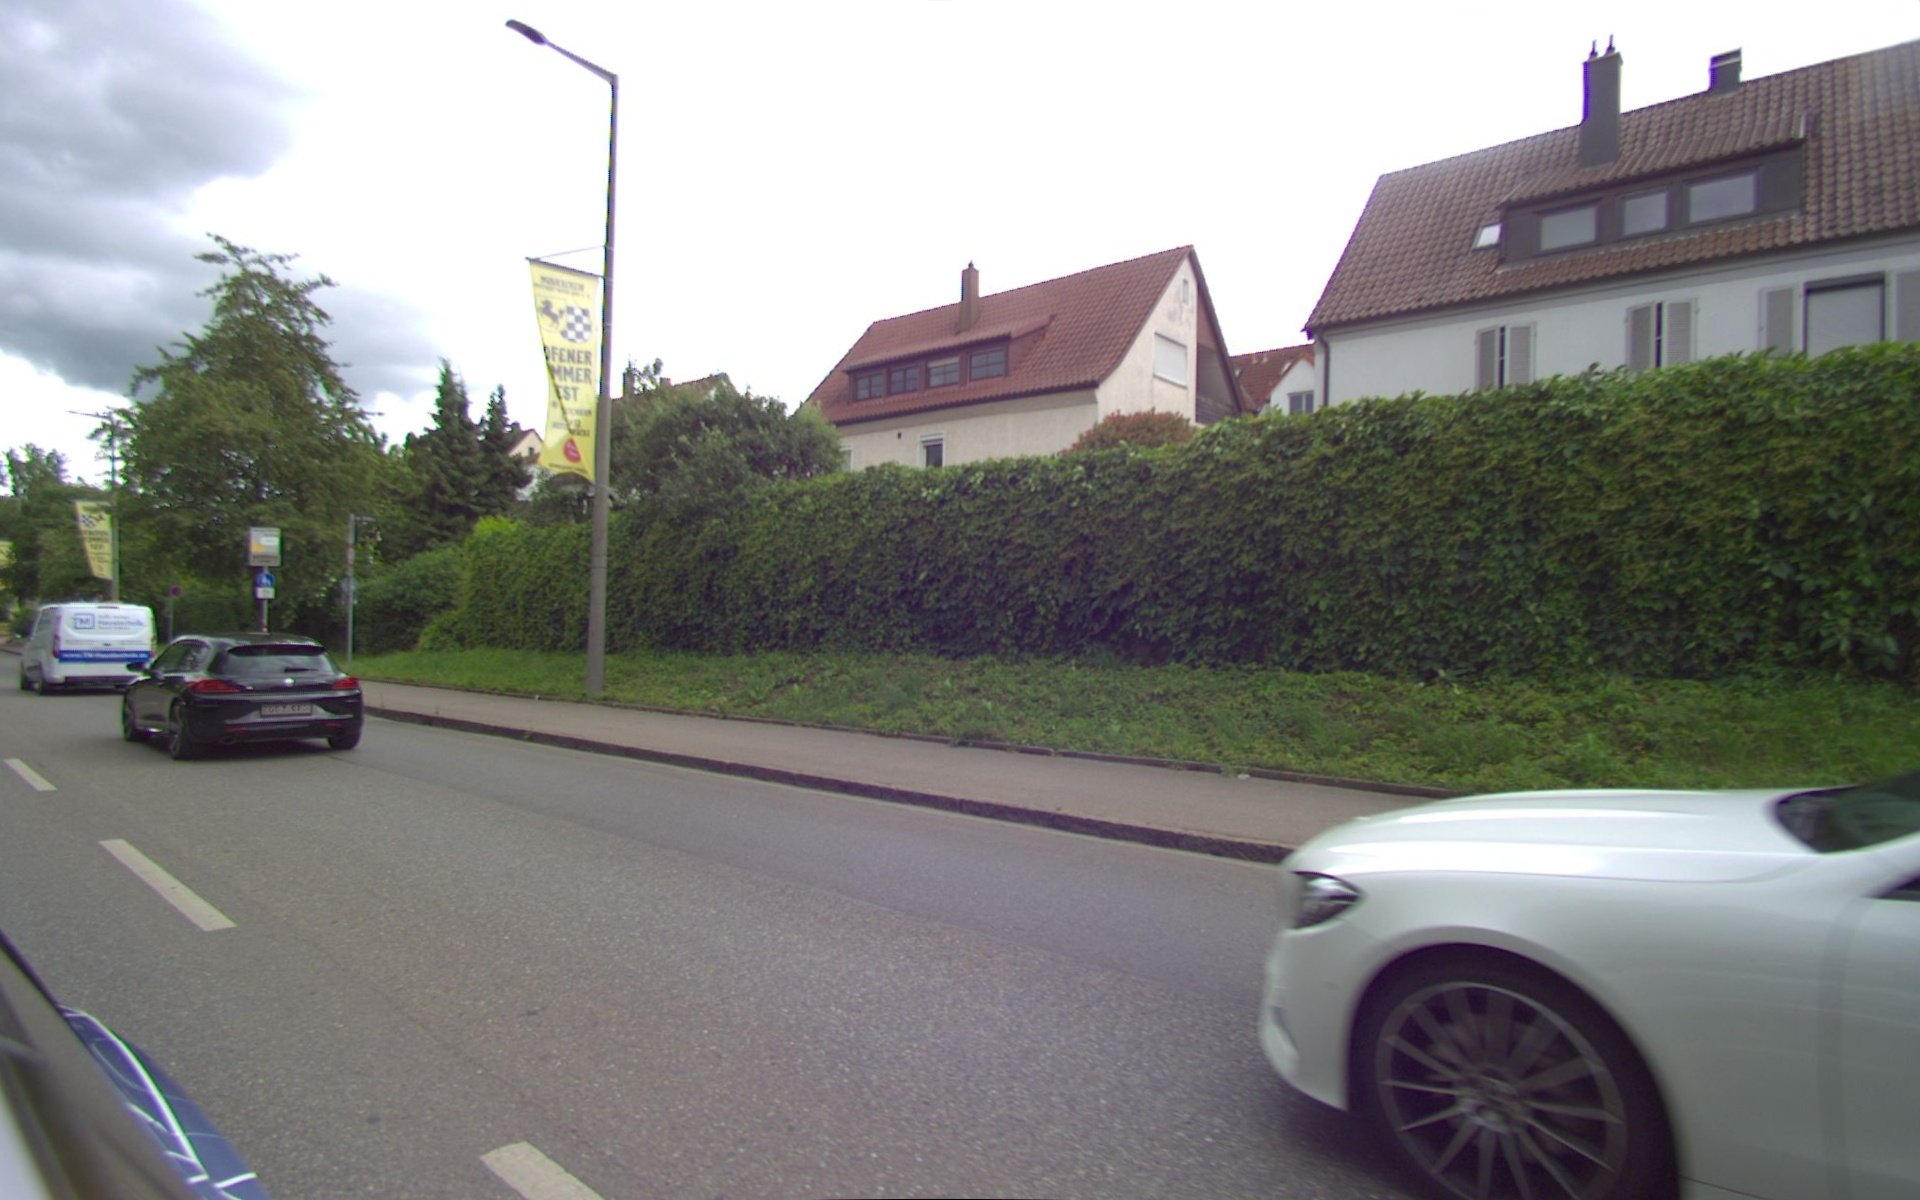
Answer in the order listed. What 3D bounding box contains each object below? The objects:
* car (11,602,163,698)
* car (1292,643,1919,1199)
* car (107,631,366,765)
[{"bbox_3d":[-19.829,1.114,22.906,4.909,1.947,1.886,-1,-4,42],"label":"car"},{"bbox_3d":[3.193,0.819,1.980,4.488,1.394,1.866,-1,-3,41],"label":"car"},{"bbox_3d":[-9.062,1.088,12.517,4.476,1.358,1.633,-1,-3,42],"label":"car"}]
